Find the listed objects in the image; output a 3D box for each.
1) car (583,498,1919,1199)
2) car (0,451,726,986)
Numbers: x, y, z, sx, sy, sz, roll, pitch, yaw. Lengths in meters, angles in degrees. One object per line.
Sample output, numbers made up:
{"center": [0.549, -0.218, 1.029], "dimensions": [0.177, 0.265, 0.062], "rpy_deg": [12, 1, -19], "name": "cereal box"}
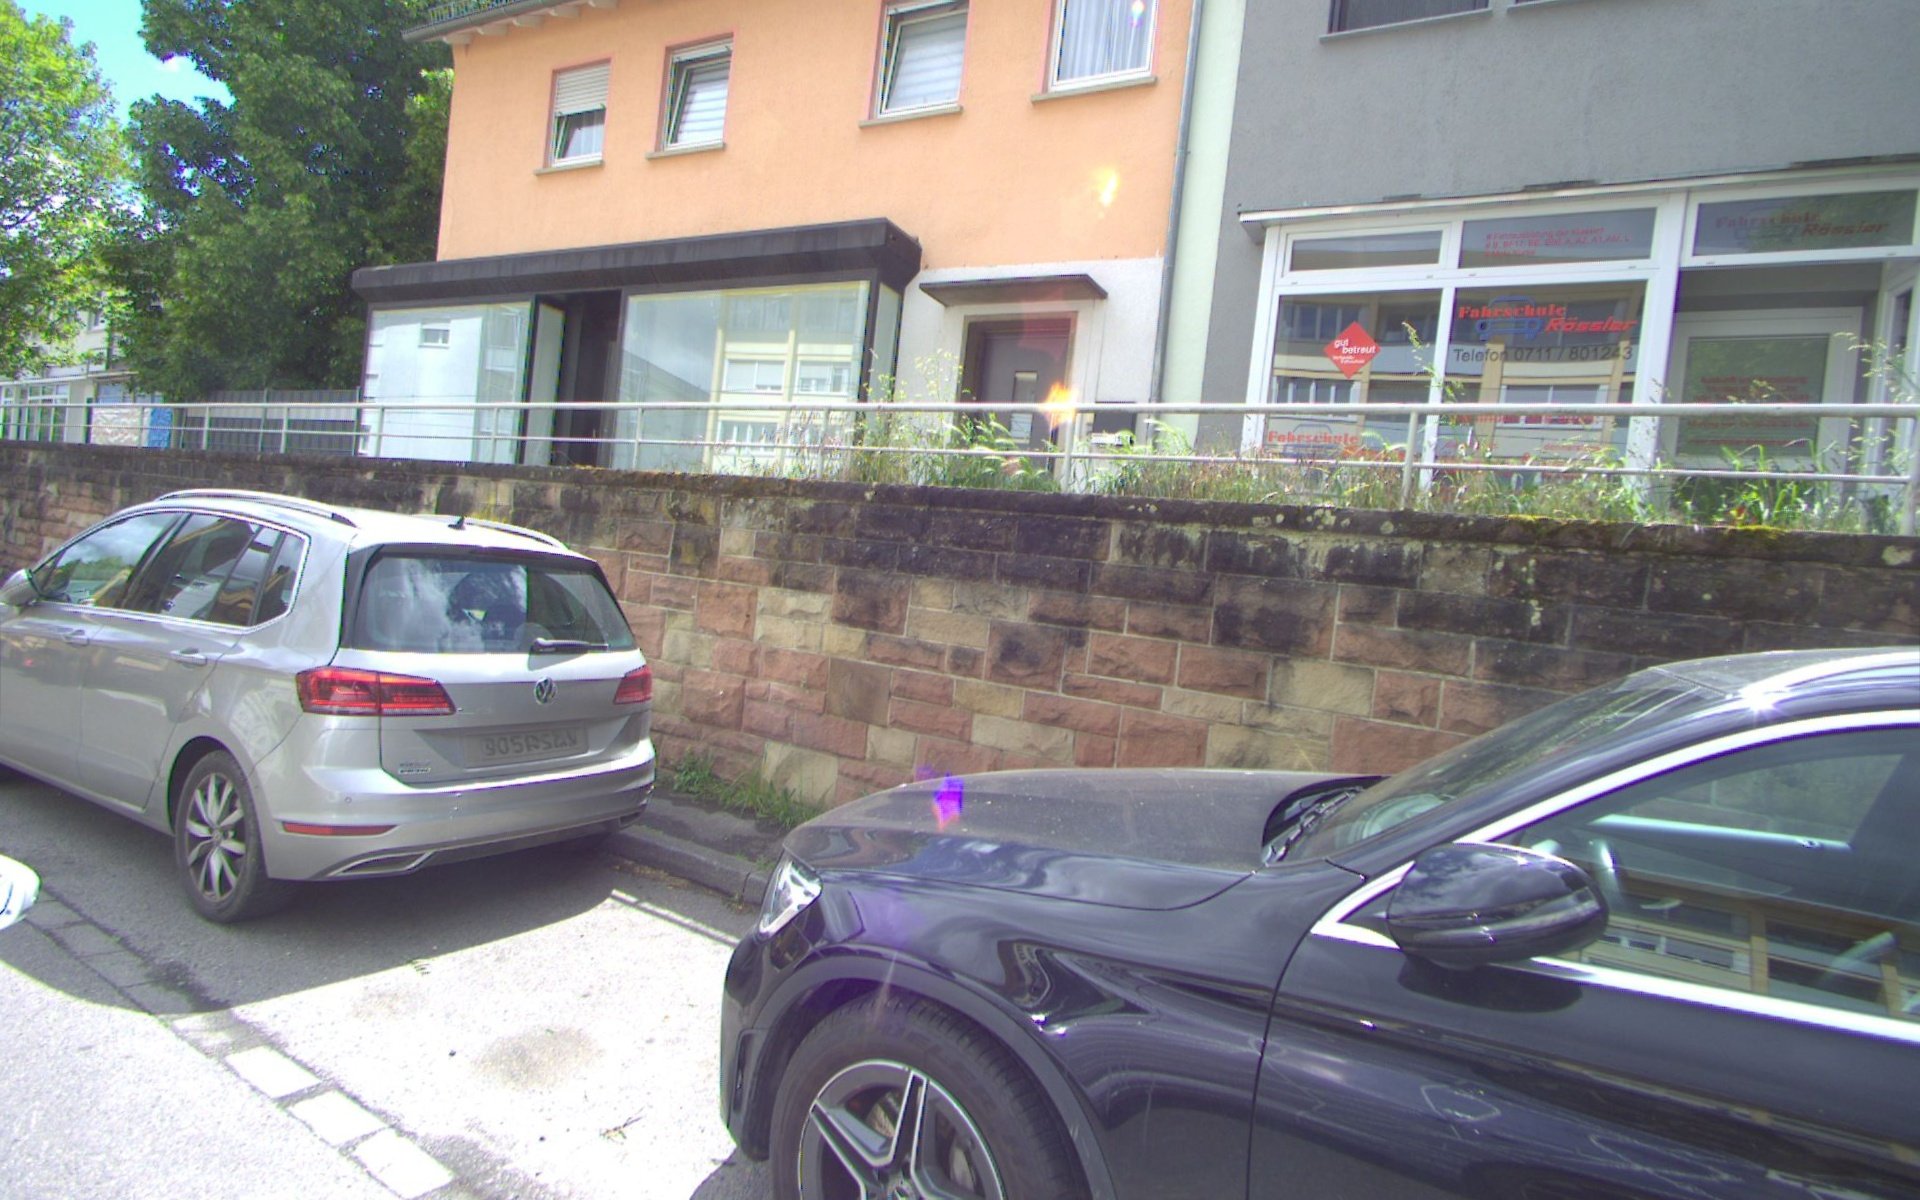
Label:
{"center": [1.523, 0.841, 1.925], "dimensions": [4.373, 1.639, 1.791], "rpy_deg": [7, 2, 31], "name": "car"}
{"center": [-3.410, 0.251, 5.032], "dimensions": [4.177, 1.638, 1.791], "rpy_deg": [7, 1, 31], "name": "car"}
